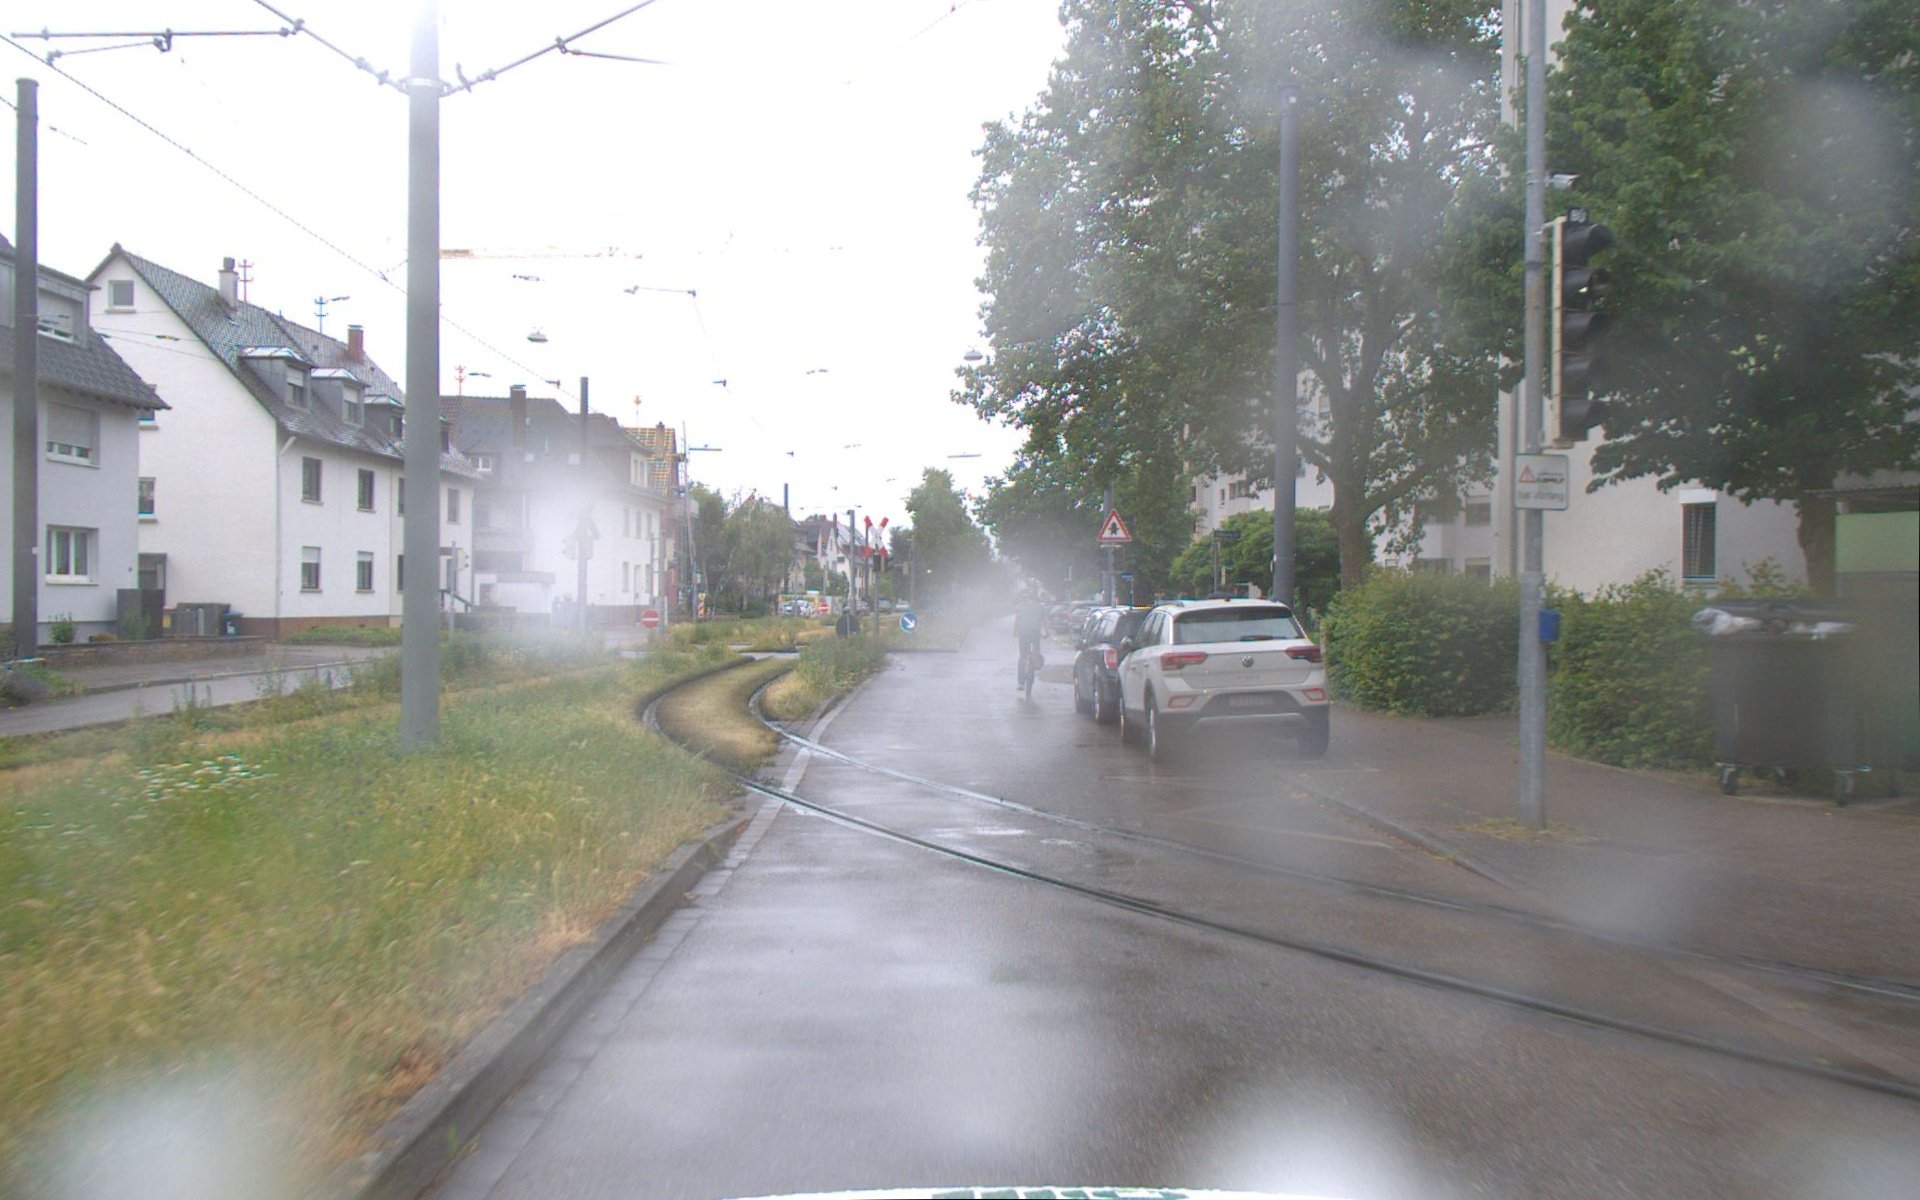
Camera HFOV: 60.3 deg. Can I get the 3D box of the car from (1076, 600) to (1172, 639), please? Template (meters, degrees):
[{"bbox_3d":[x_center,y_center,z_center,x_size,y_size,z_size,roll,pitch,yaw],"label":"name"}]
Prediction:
[{"bbox_3d":[6.956,0.814,70.104,3.959,1.534,1.682,0,-2,-38],"label":"car"}]

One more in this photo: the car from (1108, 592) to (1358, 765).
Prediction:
[{"bbox_3d":[2.738,0.734,17.522,1.861,1.602,4.110,0,0,-2],"label":"car"}]

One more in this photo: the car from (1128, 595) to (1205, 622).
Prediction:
[{"bbox_3d":[13.840,0.568,110.934,4.720,1.776,1.993,0,0,-13],"label":"car"}]

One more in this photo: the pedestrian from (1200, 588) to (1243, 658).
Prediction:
[{"bbox_3d":[7.002,0.604,44.214,1.076,1.845,1.435,0,0,11],"label":"pedestrian"}]

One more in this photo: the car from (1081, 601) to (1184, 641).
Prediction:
[{"bbox_3d":[6.984,0.845,66.806,3.953,1.534,1.762,-1,-2,-35],"label":"car"}]

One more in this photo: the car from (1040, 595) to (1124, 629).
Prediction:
[{"bbox_3d":[6.296,0.620,85.160,4.308,1.680,1.831,0,0,-40],"label":"car"}]

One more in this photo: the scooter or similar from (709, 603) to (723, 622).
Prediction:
[{"bbox_3d":[-16.155,0.832,109.449,0.385,1.201,1.283,0,0,17],"label":"scooter or similar"}]

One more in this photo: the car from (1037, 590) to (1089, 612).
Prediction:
[{"bbox_3d":[8.920,0.080,143.797,4.090,1.749,1.980,-3,1,-30],"label":"car"}]

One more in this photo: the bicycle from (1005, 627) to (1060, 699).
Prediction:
[{"bbox_3d":[1.210,1.038,28.004,0.793,1.116,2.517,0,0,-1],"label":"bicycle"}]

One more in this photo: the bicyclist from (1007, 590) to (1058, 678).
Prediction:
[{"bbox_3d":[1.217,0.567,28.077,0.793,1.458,1.060,0,0,-1],"label":"bicyclist"}]

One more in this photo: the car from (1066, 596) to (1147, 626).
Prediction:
[{"bbox_3d":[7.270,0.536,81.875,3.962,1.454,1.710,0,0,-40],"label":"car"}]

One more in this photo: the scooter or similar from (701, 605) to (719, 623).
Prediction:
[{"bbox_3d":[-16.045,0.877,106.342,0.432,1.149,1.280,0,0,32],"label":"scooter or similar"}]

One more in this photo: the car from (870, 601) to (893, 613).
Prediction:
[{"bbox_3d":[-9.045,0.807,190.498,1.856,1.266,4.690,2,0,6],"label":"car"}]

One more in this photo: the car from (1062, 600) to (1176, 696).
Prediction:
[{"bbox_3d":[2.720,0.782,29.018,1.526,1.545,3.999,-1,0,-1],"label":"car"}]

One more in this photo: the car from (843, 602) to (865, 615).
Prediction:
[{"bbox_3d":[-10.550,0.848,164.620,1.628,1.266,4.073,2,0,3],"label":"car"}]

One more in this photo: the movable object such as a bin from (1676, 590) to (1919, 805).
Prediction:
[{"bbox_3d":[6.283,0.663,12.229,1.141,1.466,1.456,0,0,-39],"label":"movable object such as a bin"}]

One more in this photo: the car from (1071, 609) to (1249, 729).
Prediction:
[{"bbox_3d":[2.678,0.880,23.025,1.861,1.474,4.183,0,0,-2],"label":"car"}]

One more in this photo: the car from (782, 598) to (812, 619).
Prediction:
[{"bbox_3d":[-13.303,0.698,135.036,1.674,1.569,4.424,2,0,4],"label":"car"}]
